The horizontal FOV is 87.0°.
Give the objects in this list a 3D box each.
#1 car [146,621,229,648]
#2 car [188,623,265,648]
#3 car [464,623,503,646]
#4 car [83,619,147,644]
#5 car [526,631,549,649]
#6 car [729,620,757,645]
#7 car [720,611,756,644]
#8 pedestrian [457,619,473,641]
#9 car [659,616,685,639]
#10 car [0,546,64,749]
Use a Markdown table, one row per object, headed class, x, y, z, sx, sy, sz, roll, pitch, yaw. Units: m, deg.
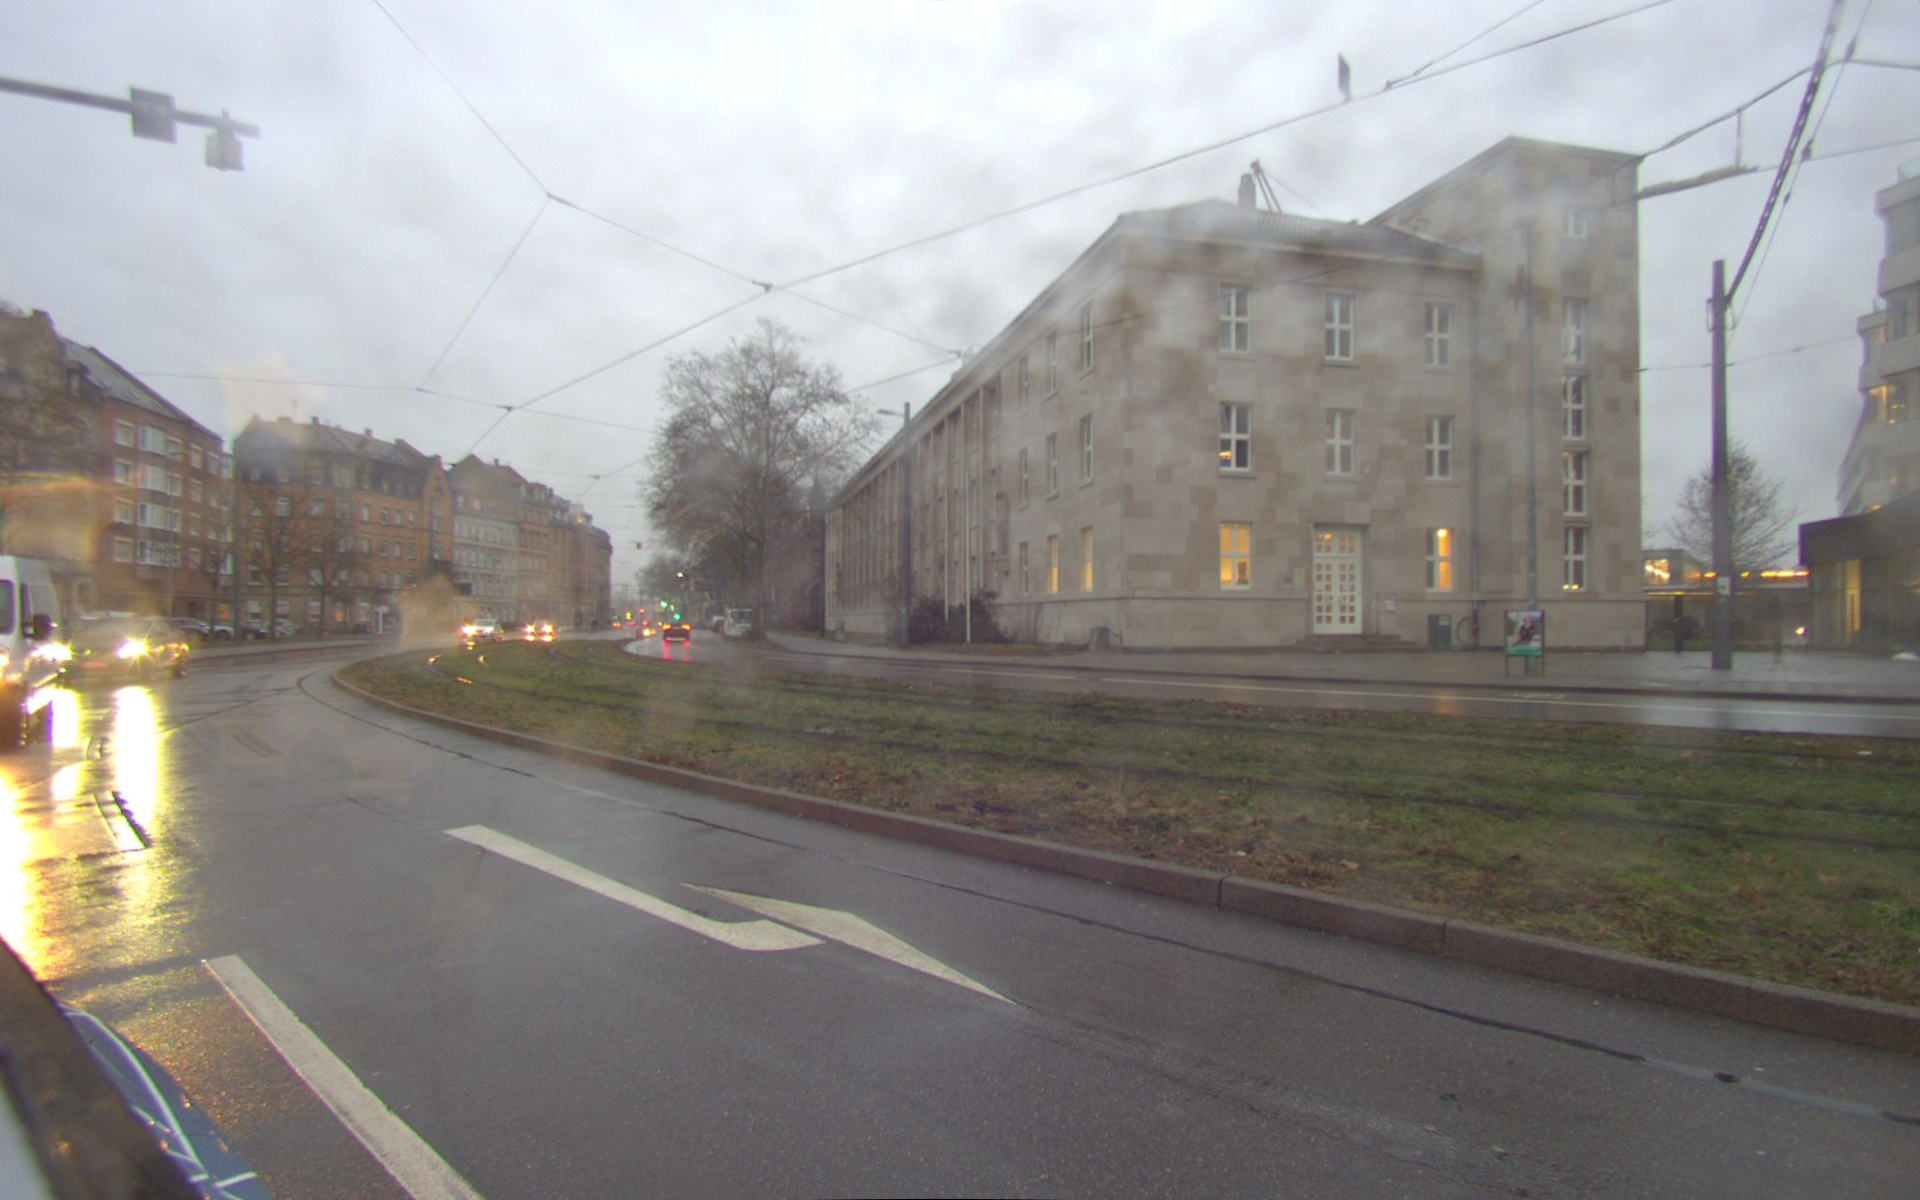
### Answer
| class | x | y | z | sx | sy | sz | roll | pitch | yaw |
| --- | --- | --- | --- | --- | --- | --- | --- | --- | --- |
| car | -44.015 | 1.963 | 57.713 | 3.706 | 1.364 | 1.605 | -2 | 0 | -39 |
| car | -44.651 | 2.146 | 61.650 | 3.706 | 1.364 | 1.605 | -2 | 0 | -39 |
| car | -30.860 | 2.230 | 65.602 | 1.865 | 1.424 | 3.959 | 0 | -2 | -19 |
| car | -53.287 | 1.995 | 63.915 | 1.449 | 1.555 | 3.881 | 0 | -2 | -12 |
| car | -37.292 | 3.503 | 89.407 | 1.809 | 1.497 | 3.533 | 0 | -2 | -22 |
| car | -13.275 | 1.941 | 61.874 | 1.535 | 1.439 | 2.963 | 0 | 0 | -14 |
| car | -14.591 | 1.773 | 66.305 | 1.966 | 2.029 | 4.522 | -2 | 0 | -15 |
| pedestrian | -41.127 | 2.468 | 84.070 | 0.957 | 1.782 | 0.920 | -1 | -2 | 39 |
| car | -19.489 | 1.843 | 68.494 | 1.634 | 1.411 | 4.536 | -2 | 0 | -16 |
| car | -13.811 | 0.626 | 13.620 | 2.096 | 2.398 | 5.651 | 0 | -1 | -36 |
